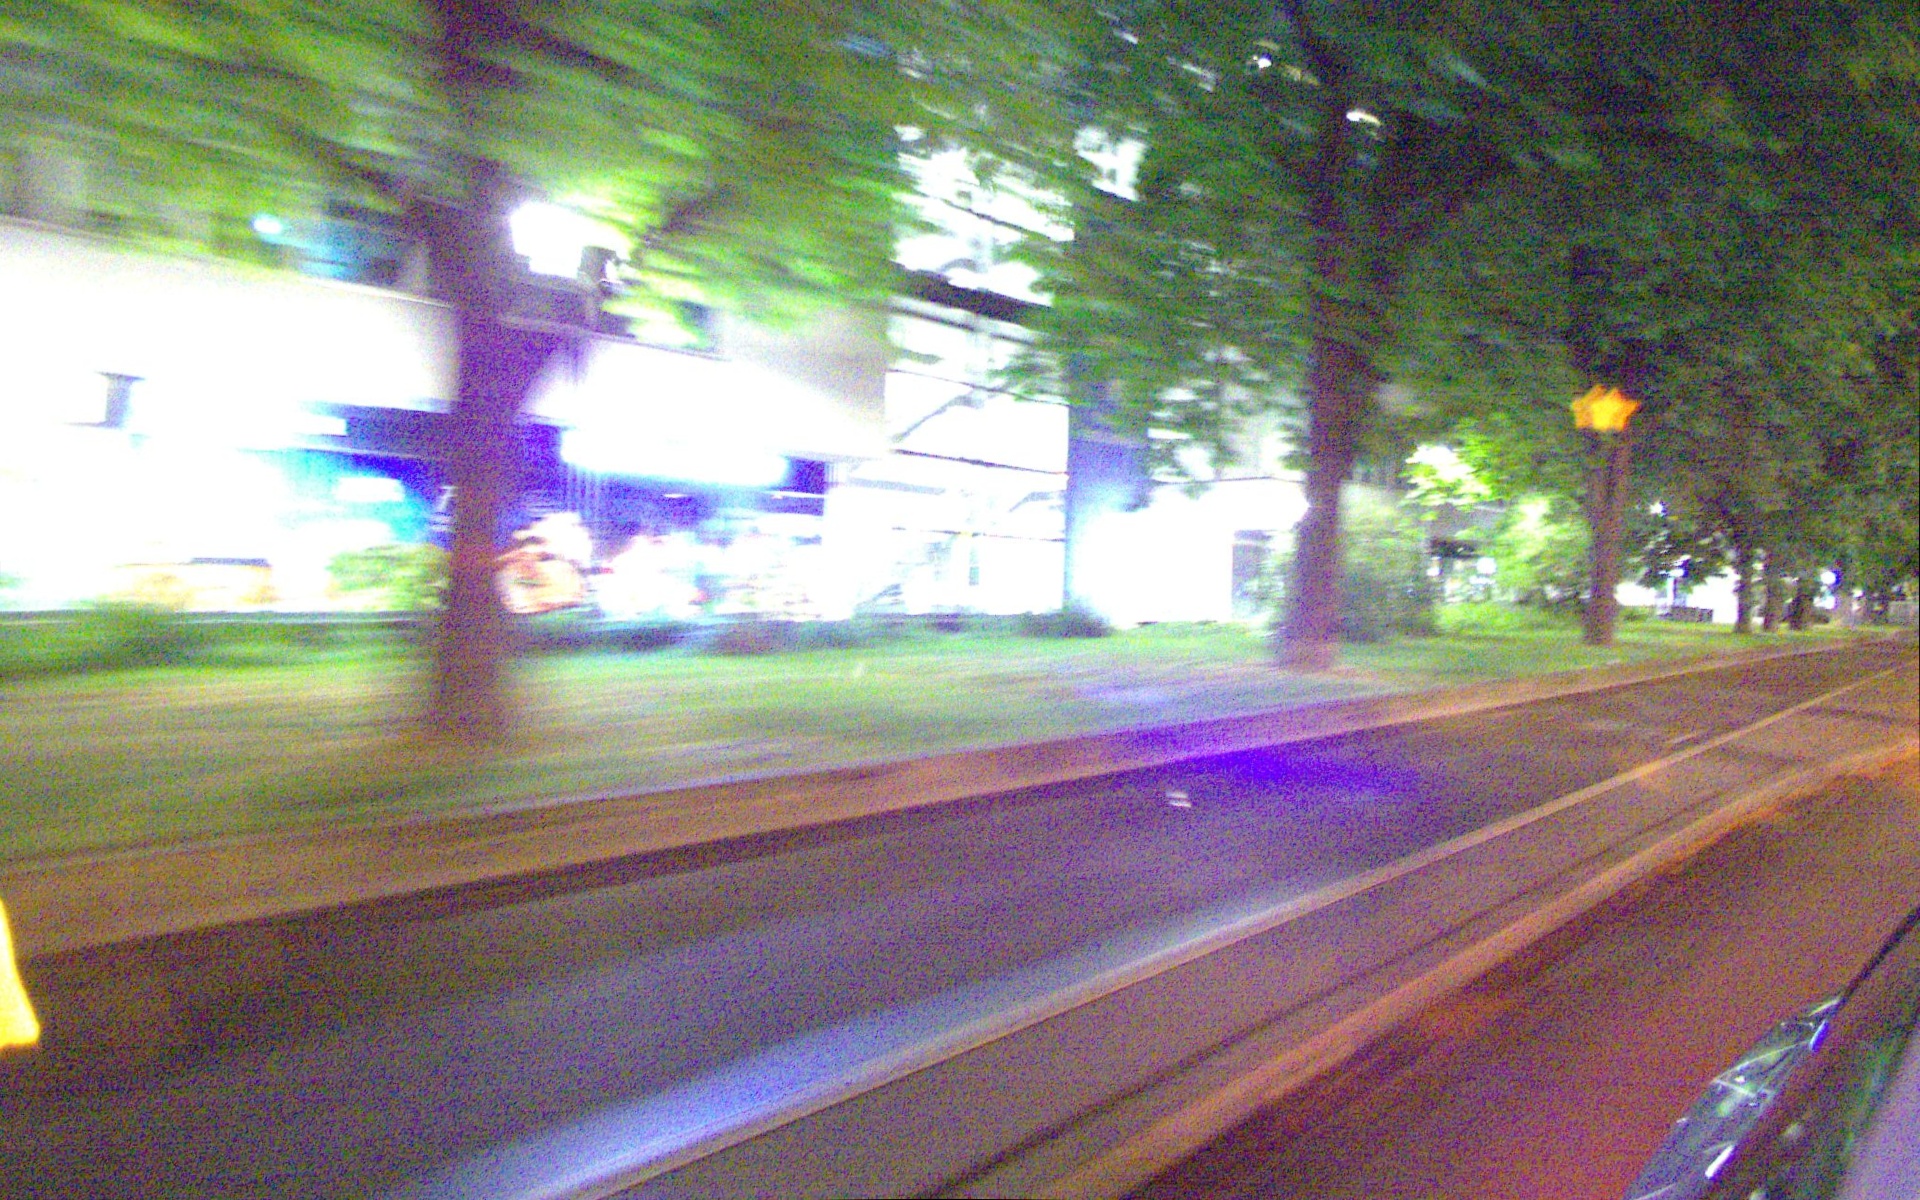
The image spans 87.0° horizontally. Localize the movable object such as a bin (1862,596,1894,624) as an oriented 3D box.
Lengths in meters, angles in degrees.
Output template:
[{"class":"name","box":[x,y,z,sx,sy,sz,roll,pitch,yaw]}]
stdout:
[{"class":"movable object such as a bin","box":[47.946,0.518,52.866,0.976,1.388,1.162,1,1,-43]}]
